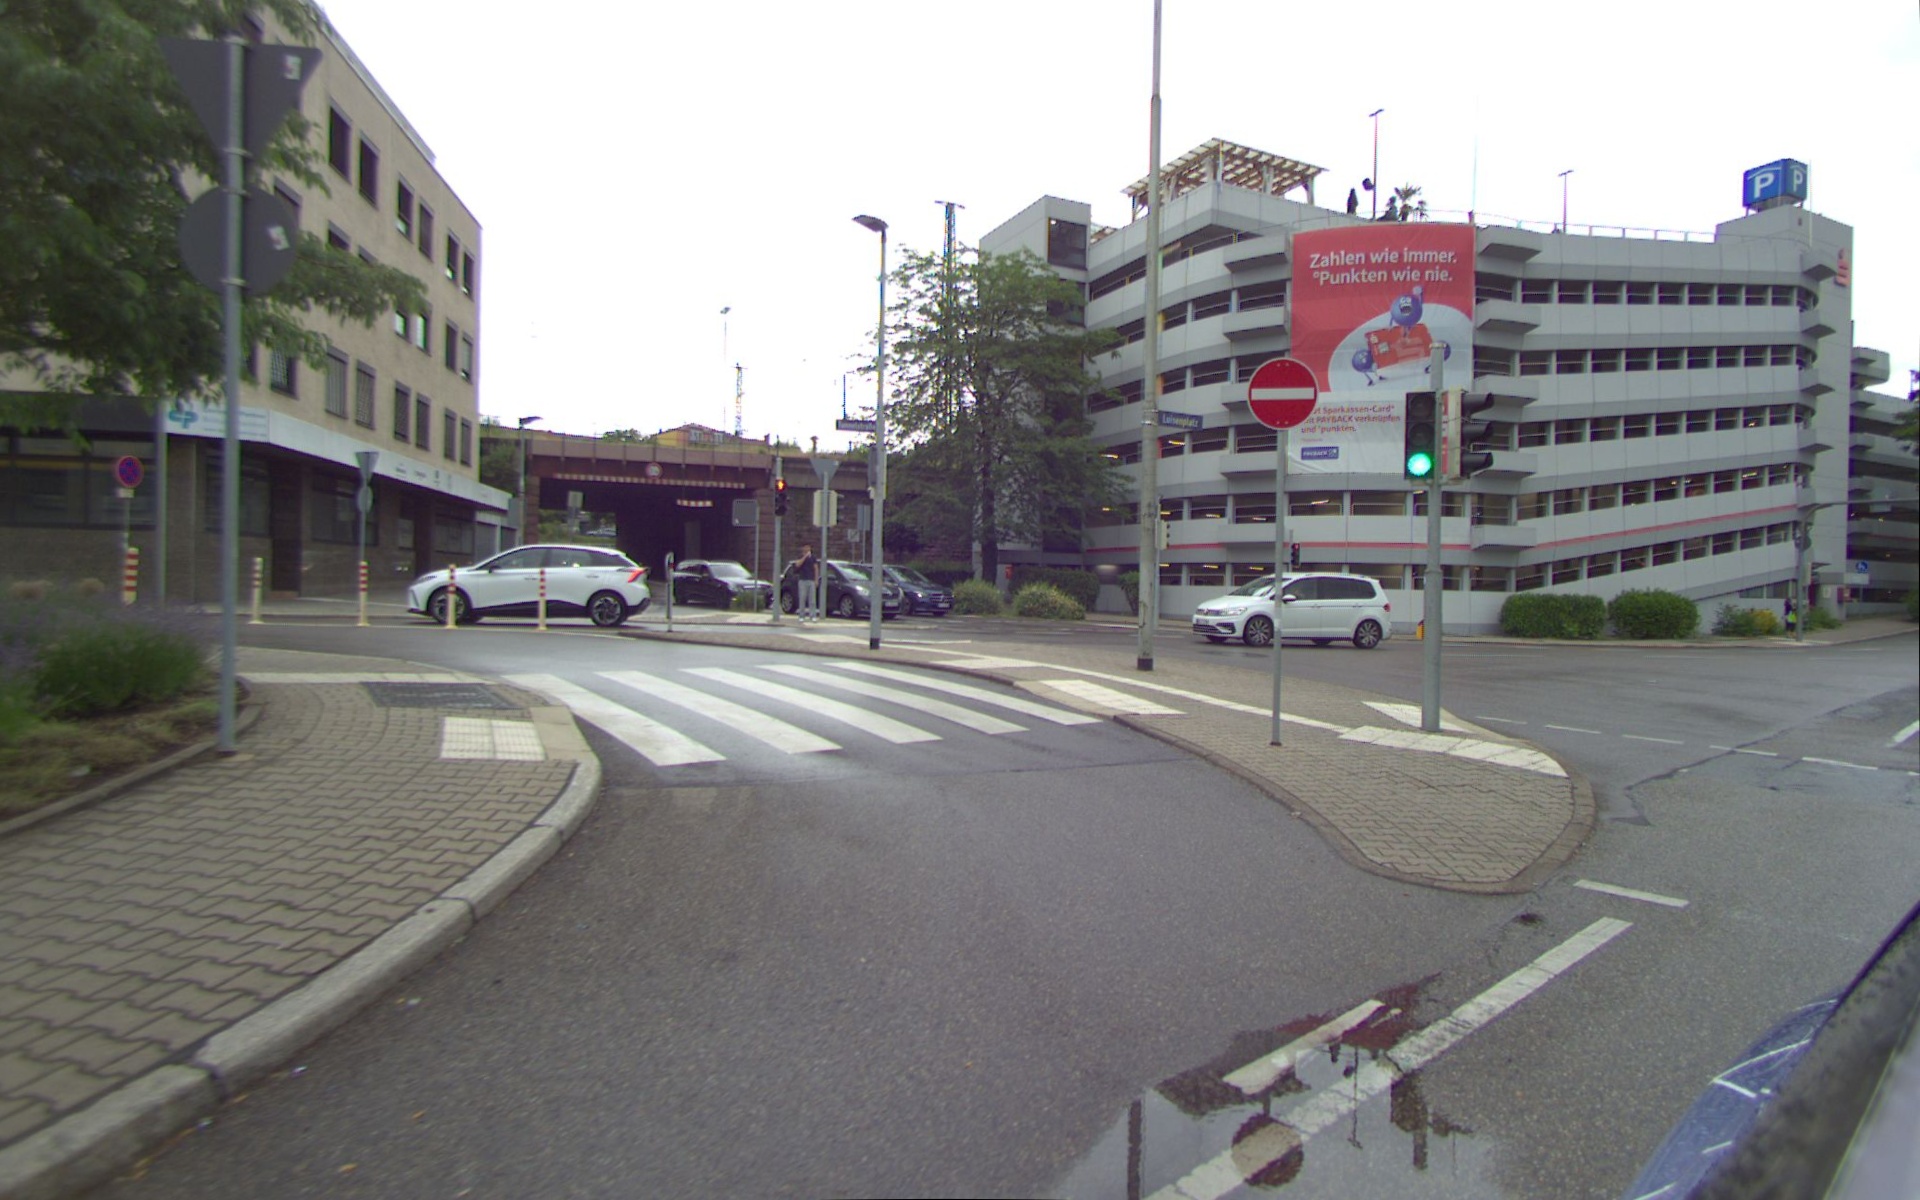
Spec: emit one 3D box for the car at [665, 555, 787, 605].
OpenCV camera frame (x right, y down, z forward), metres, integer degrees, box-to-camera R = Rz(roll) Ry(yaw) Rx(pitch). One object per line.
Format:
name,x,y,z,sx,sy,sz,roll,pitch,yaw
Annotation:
car,-7.851,-0.689,33.678,1.967,1.462,4.476,0,3,-43

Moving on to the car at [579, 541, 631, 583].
car,-16.582,-1.725,47.130,1.959,1.805,4.171,-1,0,-24

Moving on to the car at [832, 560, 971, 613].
car,-1.908,-0.456,32.041,1.967,1.462,4.476,0,3,-43

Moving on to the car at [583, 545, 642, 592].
car,-14.616,-1.279,42.469,1.959,1.805,4.171,-1,0,-24

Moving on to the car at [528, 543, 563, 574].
car,-26.377,-2.581,64.340,1.959,1.805,4.171,-1,0,-24

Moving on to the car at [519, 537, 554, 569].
car,-29.336,-3.216,70.021,1.959,2.039,4.005,-1,0,-27

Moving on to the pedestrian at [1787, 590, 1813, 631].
pedestrian,35.121,0.435,42.308,0.508,1.679,0.586,-1,4,-23

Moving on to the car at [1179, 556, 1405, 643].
car,7.261,-0.016,22.278,4.307,1.748,2.005,1,1,-16

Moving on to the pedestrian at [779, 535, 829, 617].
pedestrian,-3.546,-0.535,23.008,0.762,1.814,0.856,0,-1,-44

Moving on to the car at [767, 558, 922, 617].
car,-3.384,-0.400,29.238,4.468,1.462,1.970,4,3,42

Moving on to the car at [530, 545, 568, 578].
car,-24.482,-2.246,60.228,1.959,1.805,4.171,-1,0,-24

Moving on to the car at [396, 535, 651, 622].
car,-7.958,-0.341,18.871,4.120,1.497,1.809,0,-1,-15
